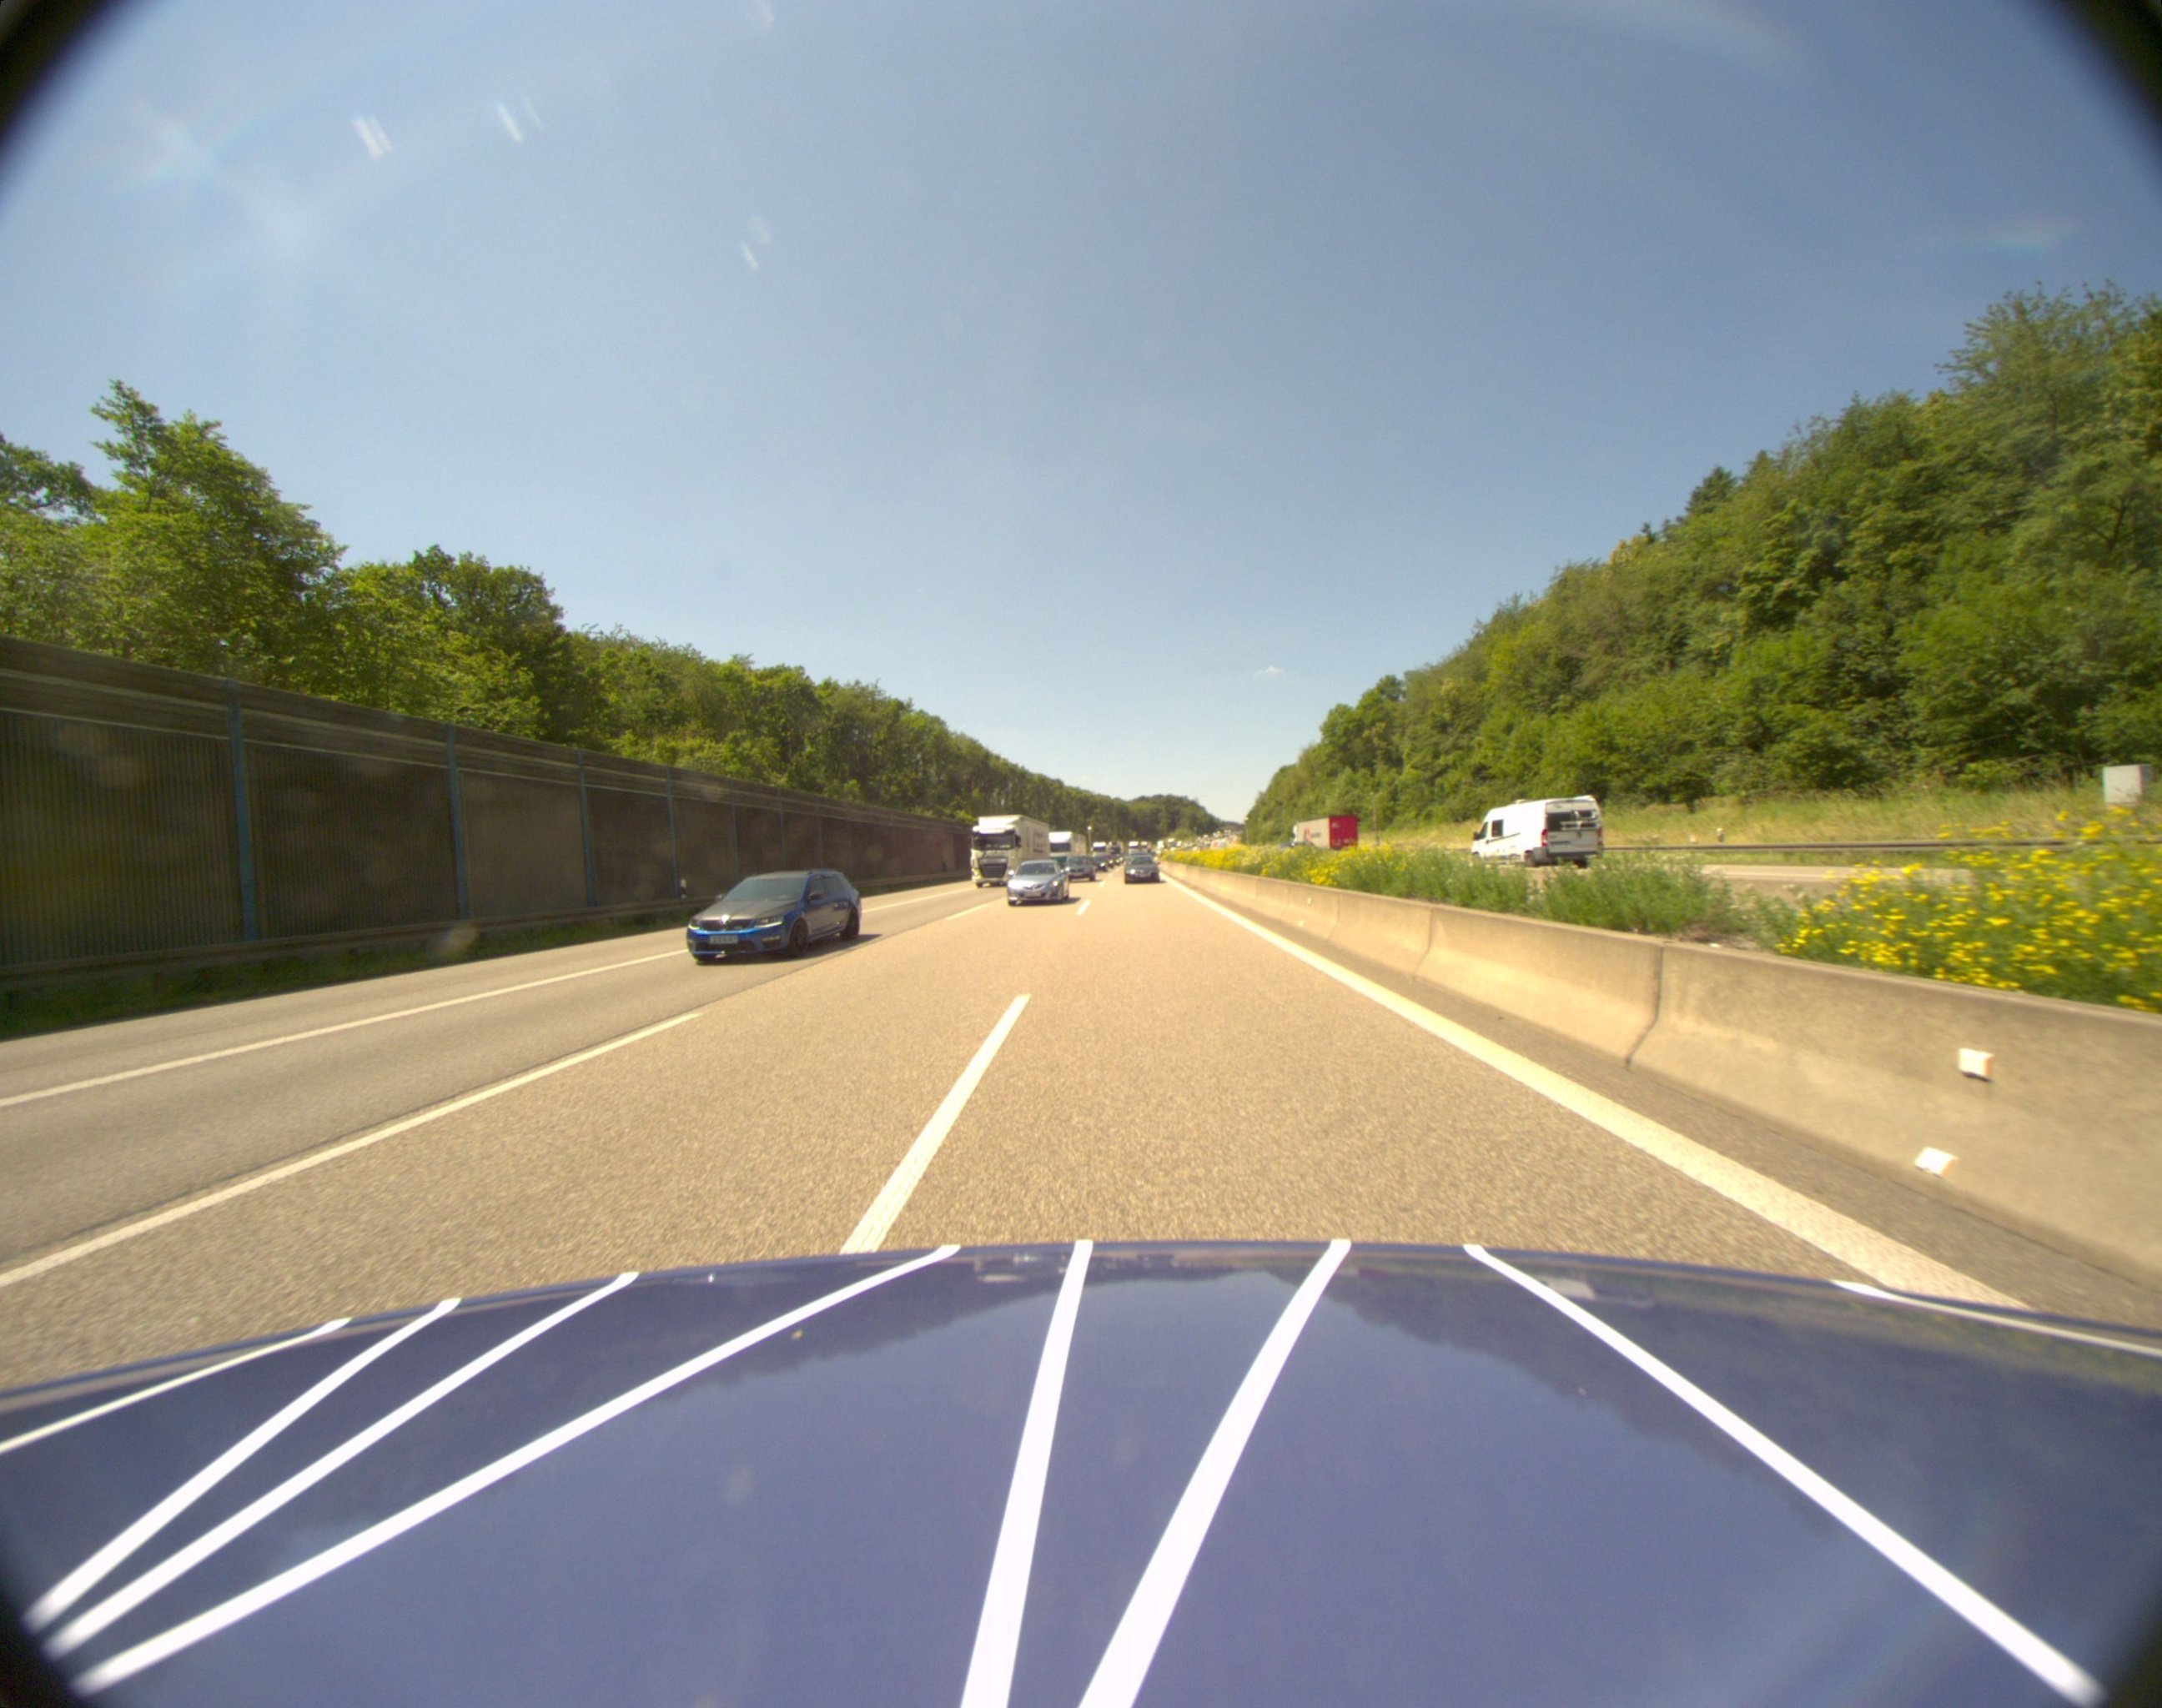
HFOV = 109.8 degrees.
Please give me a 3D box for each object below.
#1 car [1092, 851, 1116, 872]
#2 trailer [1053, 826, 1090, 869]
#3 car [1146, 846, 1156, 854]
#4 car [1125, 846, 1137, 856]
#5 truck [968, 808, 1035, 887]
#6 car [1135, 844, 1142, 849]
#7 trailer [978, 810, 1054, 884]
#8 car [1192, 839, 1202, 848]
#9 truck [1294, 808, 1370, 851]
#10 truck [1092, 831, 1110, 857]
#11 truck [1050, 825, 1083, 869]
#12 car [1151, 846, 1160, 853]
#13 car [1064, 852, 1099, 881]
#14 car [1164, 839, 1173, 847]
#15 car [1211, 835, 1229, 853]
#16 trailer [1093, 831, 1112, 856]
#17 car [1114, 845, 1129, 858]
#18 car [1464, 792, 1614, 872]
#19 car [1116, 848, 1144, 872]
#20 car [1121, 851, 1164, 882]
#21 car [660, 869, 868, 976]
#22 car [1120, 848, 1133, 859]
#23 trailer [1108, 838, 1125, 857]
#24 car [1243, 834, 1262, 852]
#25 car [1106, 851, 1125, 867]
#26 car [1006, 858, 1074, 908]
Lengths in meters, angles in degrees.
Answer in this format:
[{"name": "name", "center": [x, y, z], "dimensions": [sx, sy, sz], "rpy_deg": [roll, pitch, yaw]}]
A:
[{"name": "car", "center": [2.060, 0.640, 67.148], "dimensions": [1.998, 1.641, 4.000], "rpy_deg": [-3, 1, 3]}, {"name": "trailer", "center": [-0.875, -0.720, 80.939], "dimensions": [2.541, 4.150, 10.180], "rpy_deg": [-3, 0, 6]}, {"name": "car", "center": [15.252, -0.969, 166.328], "dimensions": [1.998, 1.641, 4.000], "rpy_deg": [-3, 1, 3]}, {"name": "car", "center": [9.329, -0.578, 141.760], "dimensions": [1.998, 1.641, 4.000], "rpy_deg": [-3, 1, 3]}, {"name": "truck", "center": [-4.516, -0.380, 44.422], "dimensions": [2.811, 4.190, 5.422], "rpy_deg": [-3, 0, 4]}, {"name": "car", "center": [17.476, -2.337, 232.535], "dimensions": [1.998, 1.641, 4.000], "rpy_deg": [-3, 1, 3]}, {"name": "trailer", "center": [-4.063, -0.447, 51.199], "dimensions": [2.821, 4.190, 13.467], "rpy_deg": [-3, 0, 4]}, {"name": "car", "center": [28.495, -2.553, 186.783], "dimensions": [1.998, 2.002, 4.001], "rpy_deg": [-3, 0, 6]}, {"name": "truck", "center": [24.800, -2.287, 76.485], "dimensions": [3.929, 3.697, 16.747], "rpy_deg": [-2, 1, 7]}, {"name": "truck", "center": [3.689, -1.818, 138.302], "dimensions": [2.853, 4.382, 5.240], "rpy_deg": [-3, 0, 4]}, {"name": "truck", "center": [-1.404, -0.667, 75.999], "dimensions": [2.544, 4.150, 4.747], "rpy_deg": [-3, 1, 6]}, {"name": "car", "center": [19.021, -1.080, 195.156], "dimensions": [1.998, 1.641, 4.000], "rpy_deg": [-3, 1, 3]}, {"name": "car", "center": [0.047, 0.733, 45.279], "dimensions": [1.907, 1.550, 4.000], "rpy_deg": [-3, 0, 1]}, {"name": "car", "center": [22.369, -2.737, 193.992], "dimensions": [1.998, 2.002, 4.001], "rpy_deg": [-3, 0, 5]}, {"name": "car", "center": [19.267, -1.335, 105.716], "dimensions": [1.998, 2.385, 4.001], "rpy_deg": [-3, 0, 5]}, {"name": "trailer", "center": [4.227, -1.894, 145.257], "dimensions": [2.853, 4.391, 13.030], "rpy_deg": [-3, 0, 5]}, {"name": "car", "center": [5.406, -0.310, 101.406], "dimensions": [1.998, 1.641, 4.000], "rpy_deg": [-3, 1, 3]}, {"name": "car", "center": [16.895, -0.771, 28.518], "dimensions": [2.161, 2.608, 5.976], "rpy_deg": [-2, 1, 2]}, {"name": "car", "center": [3.702, 0.446, 57.746], "dimensions": [1.998, 1.641, 4.000], "rpy_deg": [-2, 1, 2]}, {"name": "car", "center": [3.165, 0.623, 39.819], "dimensions": [1.907, 1.410, 4.000], "rpy_deg": [-3, 0, 1]}, {"name": "car", "center": [-5.529, 1.115, 13.929], "dimensions": [1.860, 1.485, 4.177], "rpy_deg": [-3, 0, 2]}, {"name": "car", "center": [7.213, -0.163, 121.389], "dimensions": [1.998, 1.641, 4.000], "rpy_deg": [-3, 1, 3]}, {"name": "trailer", "center": [7.999, -1.535, 170.635], "dimensions": [3.154, 4.061, 6.185], "rpy_deg": [-3, 0, 7]}, {"name": "car", "center": [23.994, -1.525, 106.443], "dimensions": [1.998, 2.385, 4.001], "rpy_deg": [-3, 0, 5]}, {"name": "car", "center": [3.833, 0.545, 83.566], "dimensions": [1.998, 1.641, 4.000], "rpy_deg": [-3, 1, 3]}, {"name": "car", "center": [-1.301, 0.921, 25.779], "dimensions": [1.860, 1.426, 4.177], "rpy_deg": [-3, 0, 2]}]
